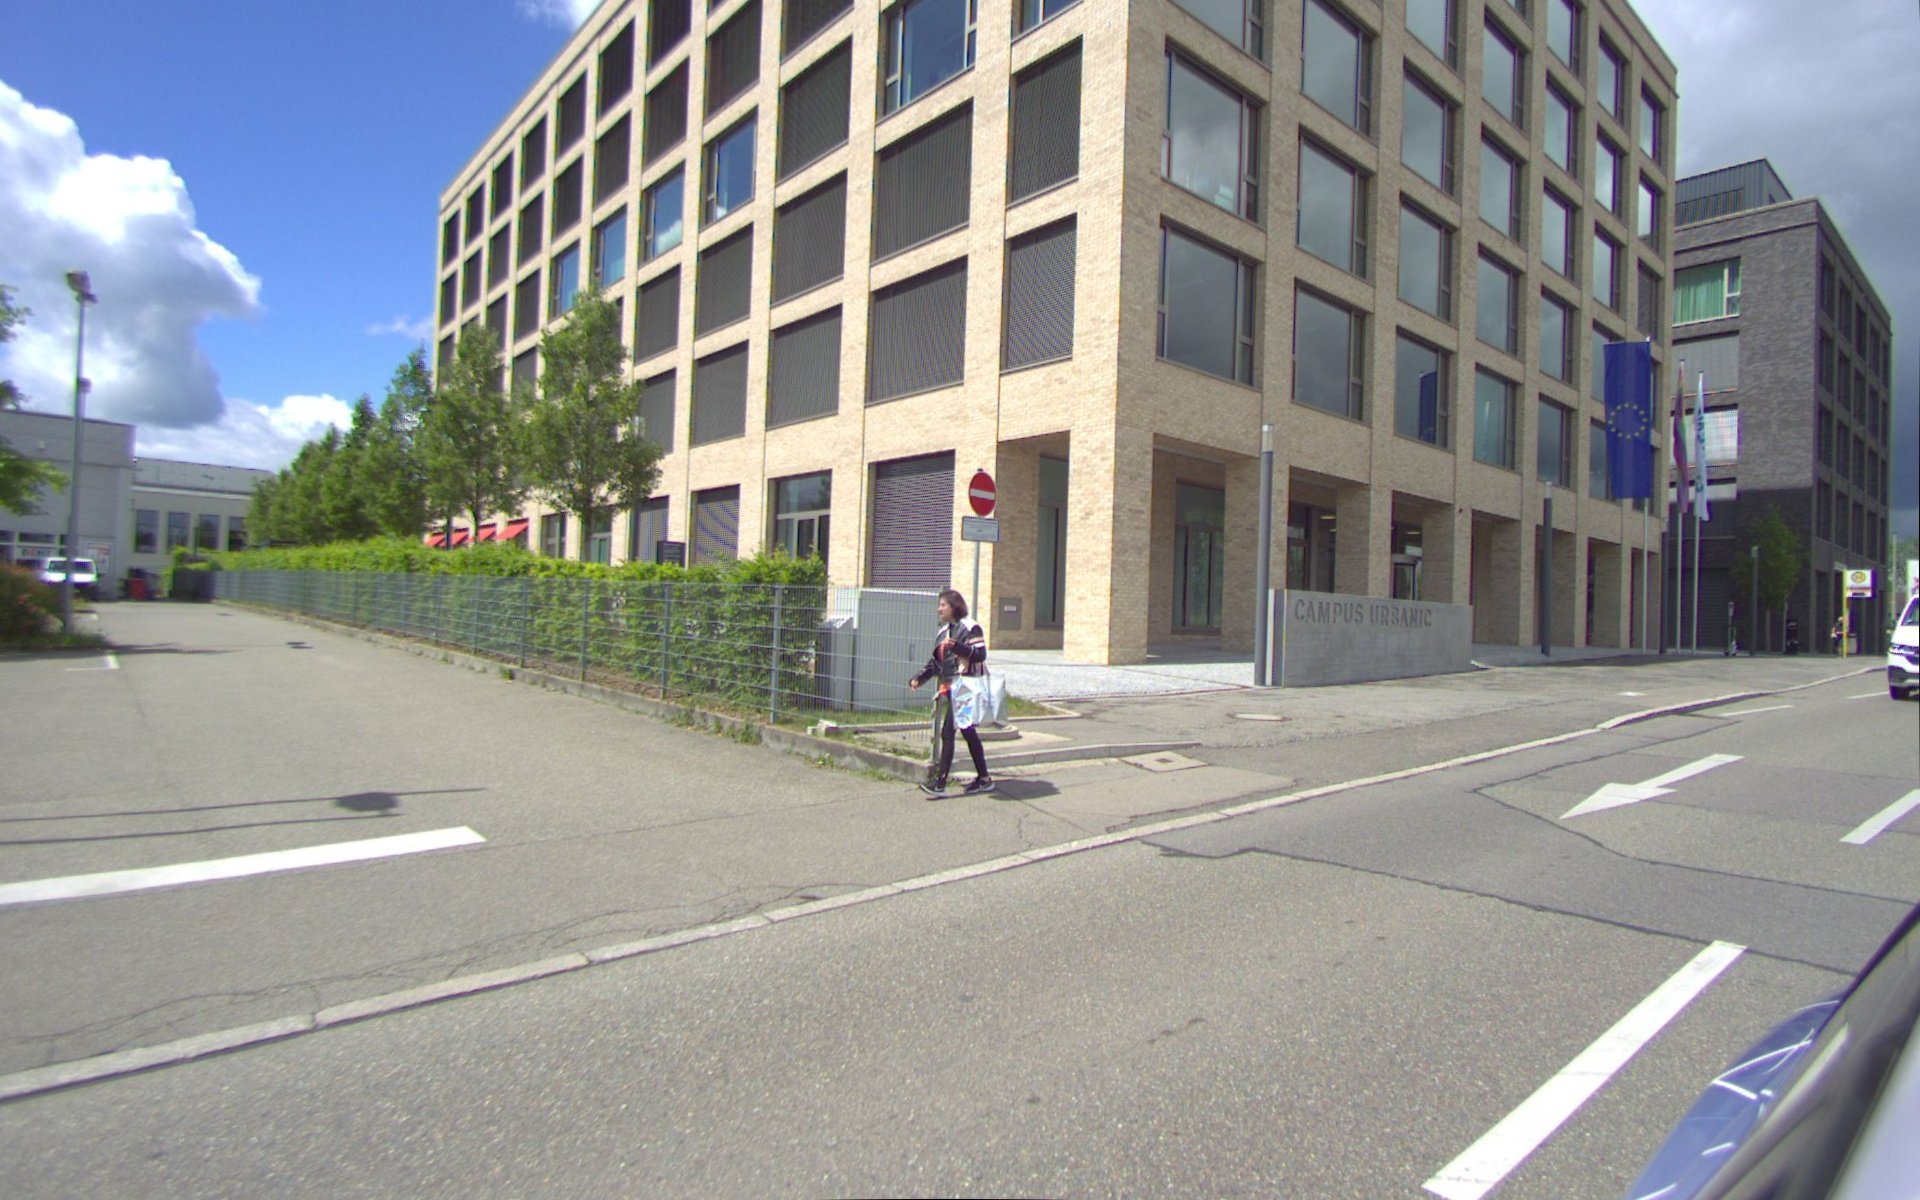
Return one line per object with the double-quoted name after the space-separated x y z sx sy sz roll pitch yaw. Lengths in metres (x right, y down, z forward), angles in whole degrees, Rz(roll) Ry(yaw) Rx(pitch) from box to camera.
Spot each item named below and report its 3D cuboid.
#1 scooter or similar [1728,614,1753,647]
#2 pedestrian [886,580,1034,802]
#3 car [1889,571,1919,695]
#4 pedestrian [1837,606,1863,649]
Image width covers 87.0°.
28.548 1.099 36.998 1.379 1.167 0.428 2 0 -41 "scooter or similar"
0.003 0.641 7.665 0.841 1.555 0.689 2 0 -40 "pedestrian"
18.333 0.589 18.000 4.130 2.116 1.936 0 1 -37 "car"
36.836 1.149 41.890 0.945 1.750 0.684 3 -2 -40 "pedestrian"
